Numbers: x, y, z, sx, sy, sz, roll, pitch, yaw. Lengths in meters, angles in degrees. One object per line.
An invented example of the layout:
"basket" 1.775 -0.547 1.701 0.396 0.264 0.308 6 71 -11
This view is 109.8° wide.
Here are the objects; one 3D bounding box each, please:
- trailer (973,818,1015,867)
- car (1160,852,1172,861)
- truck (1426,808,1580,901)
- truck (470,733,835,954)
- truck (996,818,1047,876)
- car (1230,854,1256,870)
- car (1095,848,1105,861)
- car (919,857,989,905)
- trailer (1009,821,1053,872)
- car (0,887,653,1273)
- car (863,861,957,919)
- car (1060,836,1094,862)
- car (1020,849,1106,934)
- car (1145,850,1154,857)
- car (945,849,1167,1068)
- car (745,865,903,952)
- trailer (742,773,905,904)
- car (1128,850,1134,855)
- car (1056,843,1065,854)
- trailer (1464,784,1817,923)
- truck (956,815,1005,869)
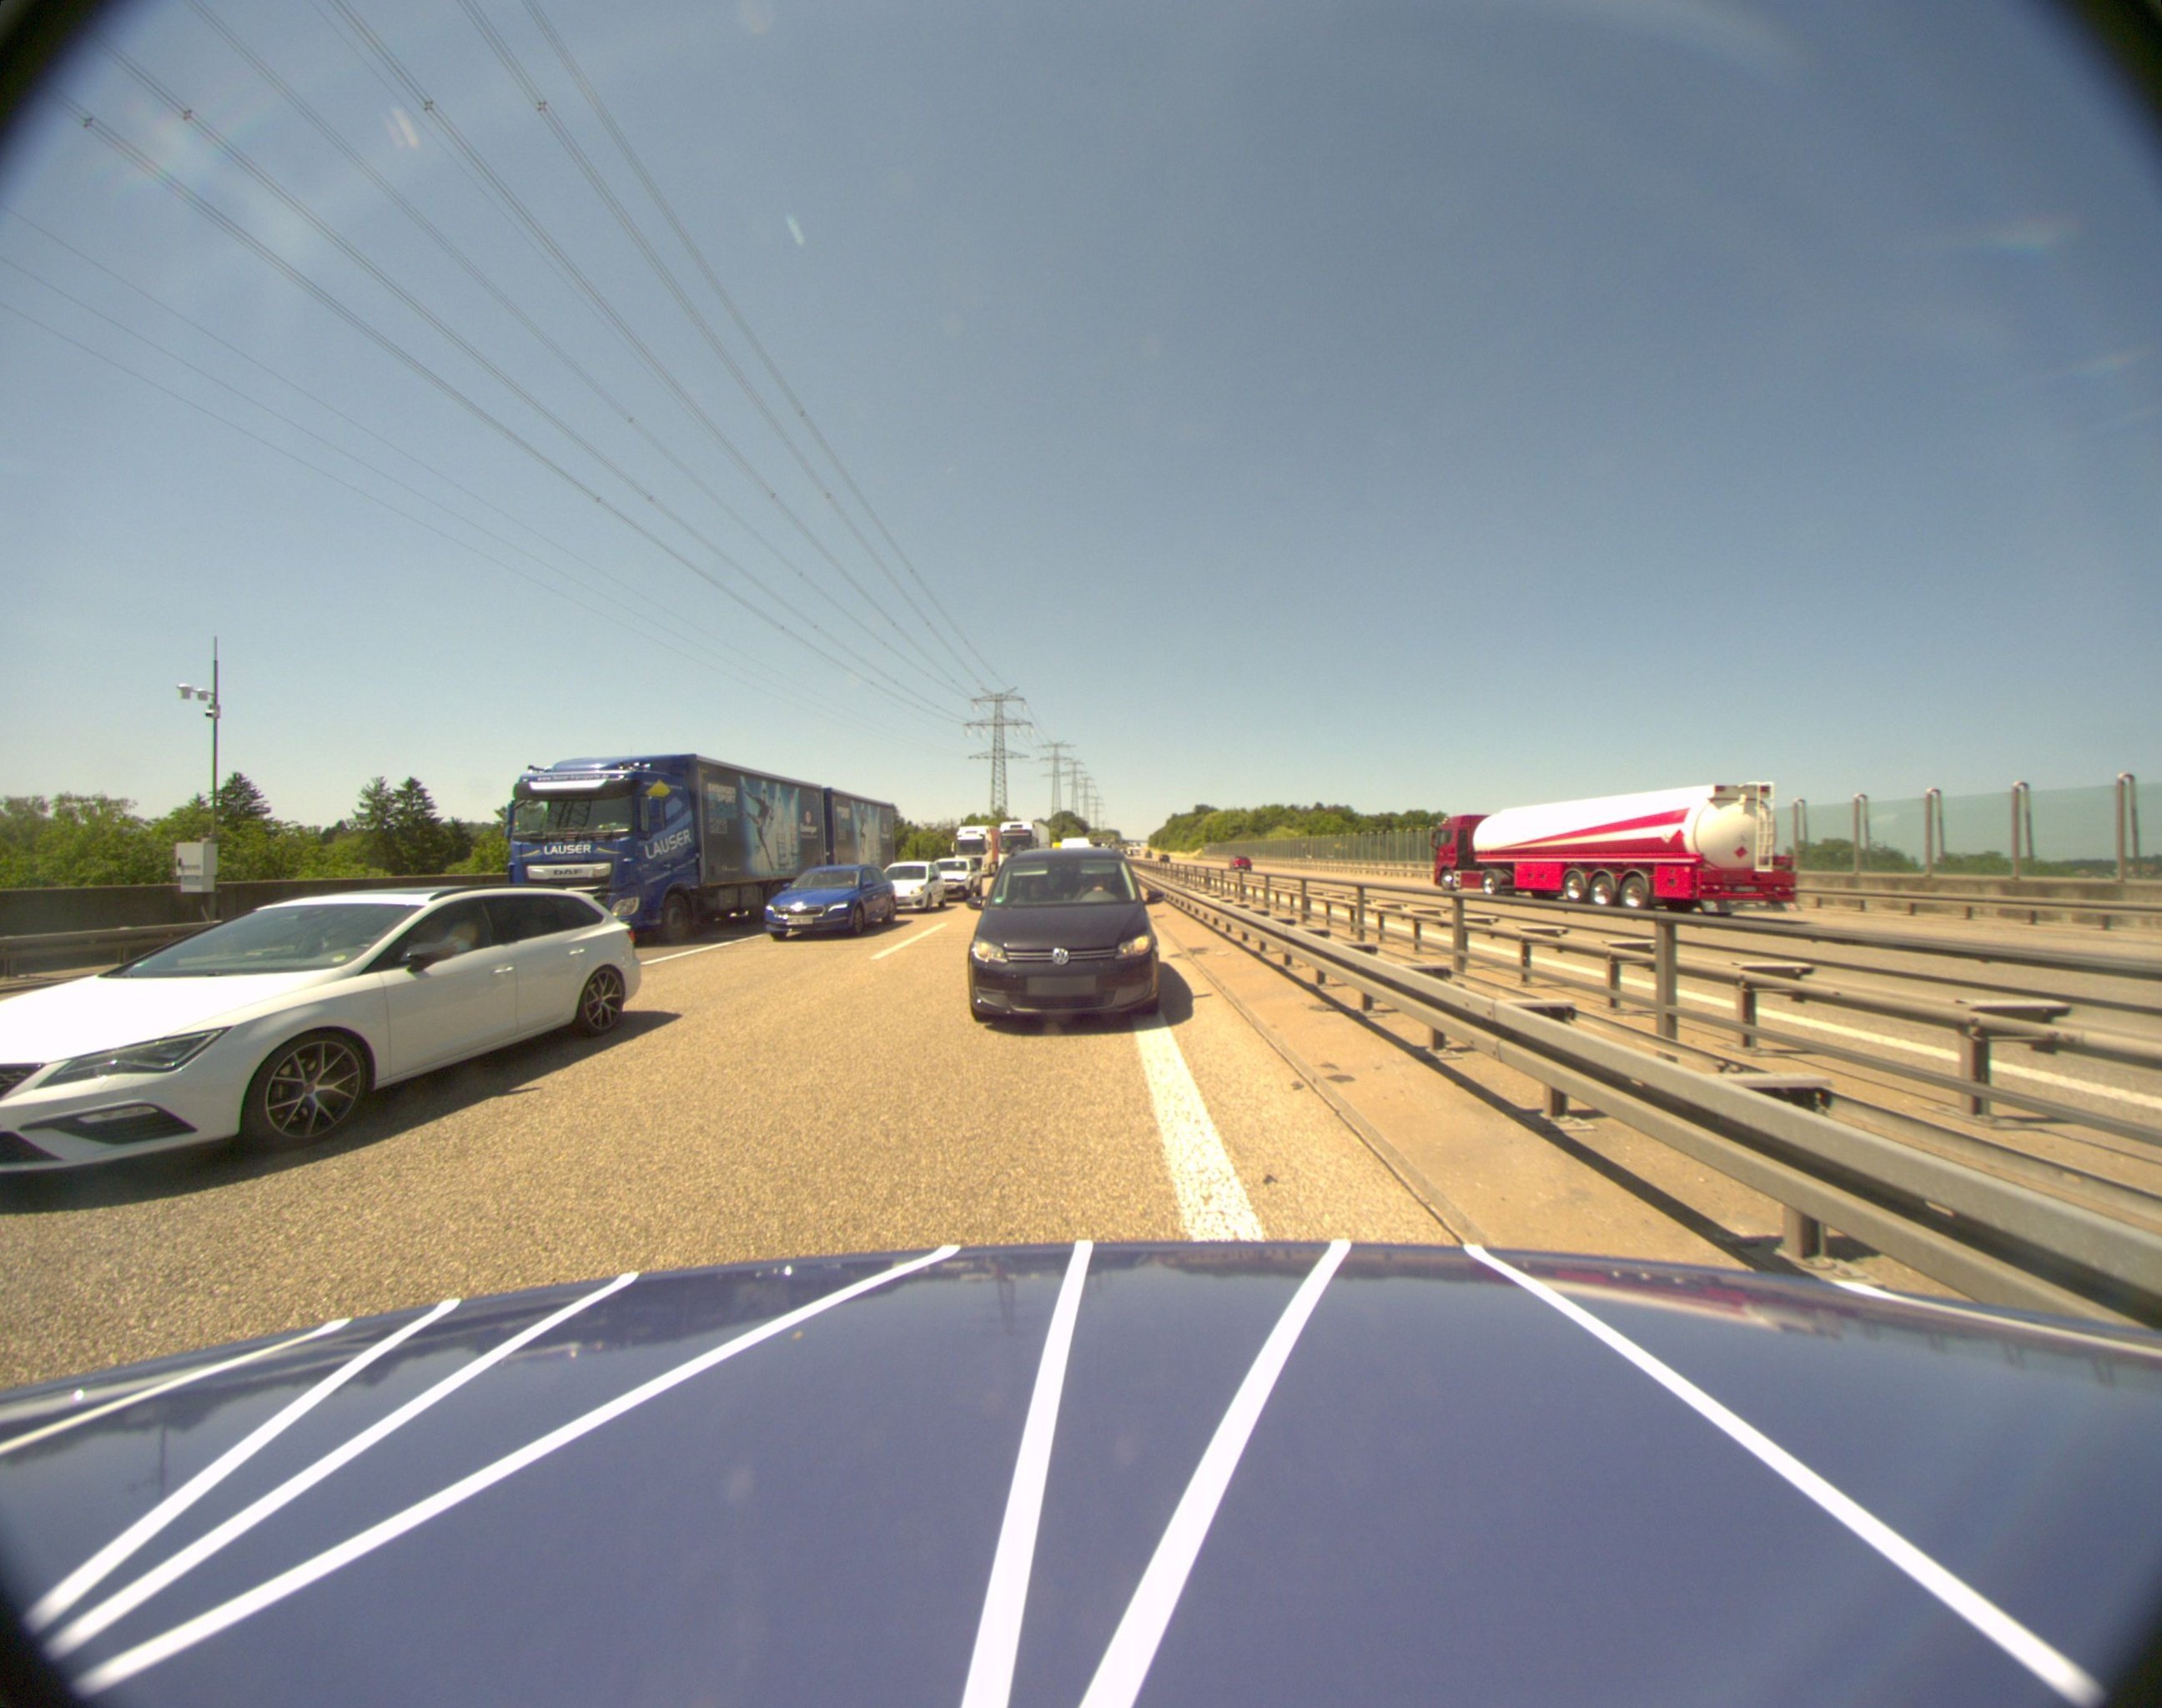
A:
"trailer" -7.904 -1.038 70.274 2.608 4.094 9.084 -2 1 1
"car" 14.657 0.372 131.141 1.704 1.412 4.000 2 1 1
"truck" 16.945 -0.034 31.111 2.915 3.395 6.294 1 1 2
"truck" -9.490 -0.250 19.049 2.859 3.927 10.393 -2 1 2
"truck" -4.202 -0.535 55.285 2.849 3.804 8.263 -2 1 1
"car" 15.851 0.749 74.609 1.786 1.412 4.000 2 1 1
"car" 3.313 0.040 134.100 1.704 2.116 4.000 -2 1 1
"car" -4.590 0.923 28.004 1.712 1.501 4.144 -2 1 2
"trailer" -4.066 -0.638 63.938 2.822 3.830 9.084 -2 1 1
"car" -5.205 1.082 5.431 1.713 1.443 4.429 -2 0 0
"car" -5.004 0.997 22.794 1.712 1.443 4.144 -2 1 2
"car" -0.218 -0.355 47.992 1.924 1.501 3.996 -2 1 2
"car" -0.334 0.763 17.645 1.712 1.669 3.931 -2 1 1
"car" 17.392 -0.135 193.112 1.832 1.629 4.000 2 1 1
"car" -0.166 0.827 8.038 1.712 1.669 3.931 -2 1 1
"car" -5.321 1.052 16.445 1.712 1.443 4.563 -2 1 2
"trailer" -9.233 -0.549 28.624 2.835 4.065 8.637 -2 1 1
"car" 14.849 -0.351 224.942 1.704 1.412 4.000 2 1 1
"car" -4.804 -1.315 178.110 1.704 2.525 4.000 2 1 1
"trailer" 16.768 -0.083 24.706 2.883 3.359 12.006 1 1 2
"truck" -8.012 -0.930 61.558 2.608 3.964 8.263 -2 1 1
